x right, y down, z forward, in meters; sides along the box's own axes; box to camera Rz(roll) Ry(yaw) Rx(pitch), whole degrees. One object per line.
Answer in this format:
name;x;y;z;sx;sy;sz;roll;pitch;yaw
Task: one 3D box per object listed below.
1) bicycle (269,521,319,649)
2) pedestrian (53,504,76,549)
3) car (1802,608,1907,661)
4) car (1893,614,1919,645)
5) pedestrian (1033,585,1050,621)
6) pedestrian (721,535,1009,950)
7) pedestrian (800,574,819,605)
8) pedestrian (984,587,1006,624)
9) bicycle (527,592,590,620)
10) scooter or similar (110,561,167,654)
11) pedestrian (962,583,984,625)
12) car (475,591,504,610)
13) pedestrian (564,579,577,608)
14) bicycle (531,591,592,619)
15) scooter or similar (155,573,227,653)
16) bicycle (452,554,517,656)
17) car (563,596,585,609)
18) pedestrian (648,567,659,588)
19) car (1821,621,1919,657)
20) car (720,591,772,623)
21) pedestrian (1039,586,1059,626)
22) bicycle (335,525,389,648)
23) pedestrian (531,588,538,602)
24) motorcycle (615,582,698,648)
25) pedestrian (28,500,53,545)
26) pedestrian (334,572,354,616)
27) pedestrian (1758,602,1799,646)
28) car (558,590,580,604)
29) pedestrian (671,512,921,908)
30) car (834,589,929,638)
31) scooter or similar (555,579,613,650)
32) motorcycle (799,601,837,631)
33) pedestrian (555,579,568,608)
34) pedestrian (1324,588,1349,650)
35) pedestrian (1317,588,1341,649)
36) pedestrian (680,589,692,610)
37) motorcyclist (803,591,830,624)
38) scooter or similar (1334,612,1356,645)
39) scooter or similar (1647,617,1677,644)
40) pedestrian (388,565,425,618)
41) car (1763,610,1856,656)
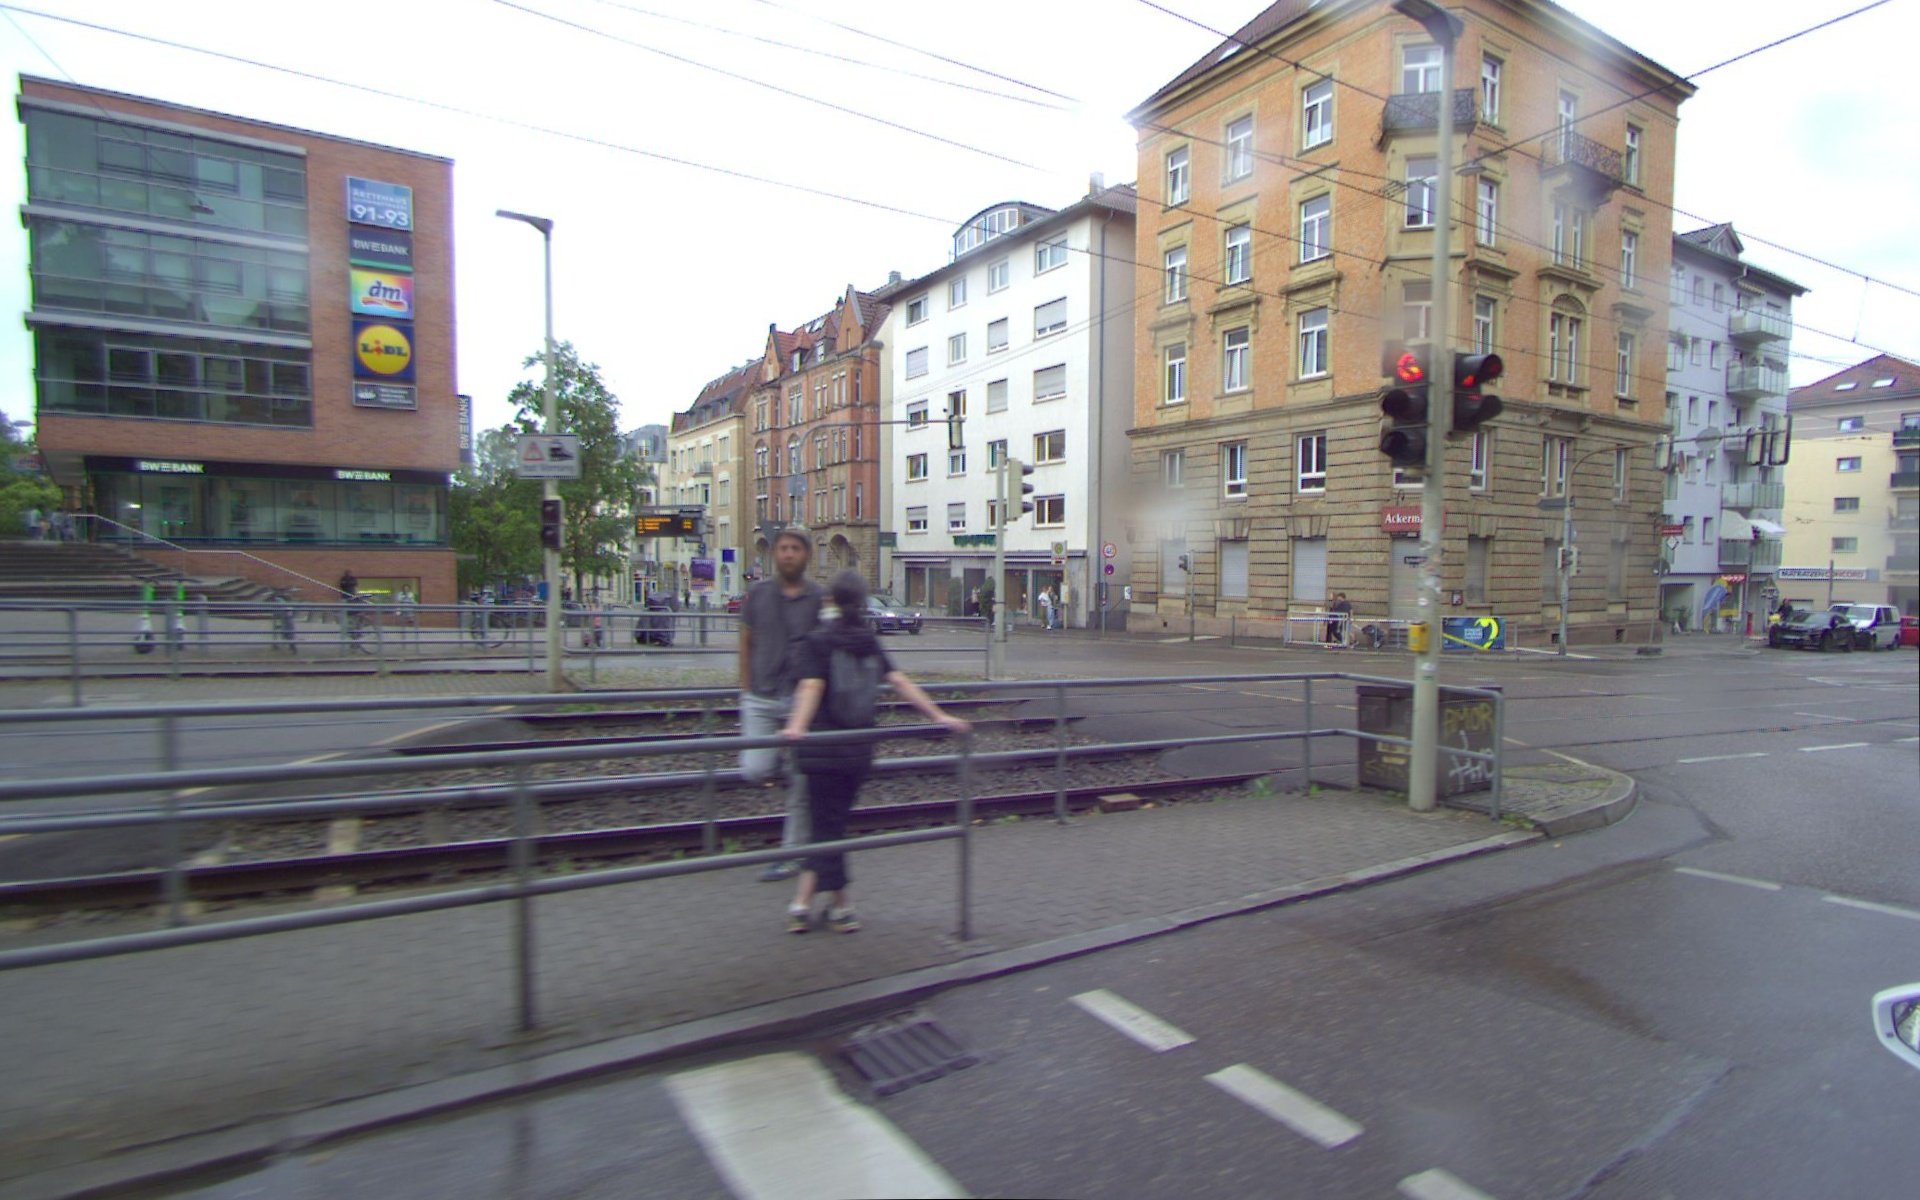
bicycle;-11.193;-0.279;16.863;0.514;2.041;1.875;1;2;-38
pedestrian;-35.876;-2.921;40.232;0.643;1.753;0.612;1;1;-40
car;39.276;1.491;44.074;5.245;2.036;2.057;1;4;-33
car;48.207;1.500;49.860;4.026;1.471;1.645;2;1;-30
pedestrian;3.601;0.130;44.169;0.492;1.557;0.528;1;2;-29
pedestrian;-0.441;0.561;4.561;0.991;1.626;0.829;1;1;-35
pedestrian;-9.205;-0.665;61.436;0.805;1.861;0.762;1;2;-34
pedestrian;1.629;0.234;46.974;0.659;1.692;0.826;1;1;-29
bicycle;-16.949;0.271;42.425;2.348;1.116;0.691;1;2;-41
scooter or similar;-13.014;0.103;15.895;1.484;1.389;0.450;3;2;41
pedestrian;0.652;0.204;50.121;0.758;2.040;0.859;1;1;-28
car;-41.985;0.034;89.612;1.798;1.610;3.964;1;0;-33
pedestrian;-22.893;-0.387;59.056;0.593;1.651;0.568;1;2;-34
bicycle;-17.316;0.229;43.677;2.339;1.116;0.845;1;1;-30
scooter or similar;-12.425;0.191;16.212;1.691;1.210;0.477;2;1;37
bicycle;-8.858;0.065;18.679;0.552;1.720;2.073;3;3;-38
car;-45.368;0.260;117.954;1.619;1.310;3.982;1;1;-33
pedestrian;-28.544;-2.102;93.509;0.805;1.861;0.762;1;2;-34
car;43.023;1.822;46.937;3.903;1.453;1.786;2;1;1
car;-12.552;0.378;58.793;1.619;1.603;3.962;1;3;-33
pedestrian;3.827;0.255;43.288;0.588;1.690;0.599;2;1;-23
bicycle;-10.444;-0.259;17.513;0.514;2.041;1.875;1;2;-38
pedestrian;-57.675;-0.632;136.141;0.805;1.861;0.762;1;1;-34
motorcycle;-6.909;0.314;22.745;0.859;1.389;2.629;2;0;-38
pedestrian;-37.662;-3.157;41.133;0.639;1.753;0.724;3;1;45
pedestrian;-22.868;-0.219;37.282;0.586;1.587;0.515;1;2;-34
pedestrian;37.430;1.078;45.934;1.168;1.955;1.161;1;2;-40
car;-40.271;-0.305;103.374;1.617;1.310;3.968;1;2;-29
pedestrian;-0.864;0.510;5.246;0.991;1.823;0.820;1;1;-35
car;-2.941;0.473;36.980;1.822;1.688;3.963;1;0;-33
scooter or similar;-7.802;0.282;20.822;1.484;1.389;0.450;3;2;41
motorcycle;-5.827;0.653;41.198;0.856;1.174;1.836;1;1;-31
pedestrian;-23.180;-0.392;58.401;0.569;1.651;0.568;1;2;-34
pedestrian;11.460;0.564;30.552;0.616;1.864;0.639;1;0;25
pedestrian;10.973;0.547;29.867;0.616;1.791;0.639;-1;2;25
pedestrian;-23.900;-0.042;87.551;0.805;1.861;0.762;1;1;-34
motorcyclist;-5.906;0.309;41.346;0.832;1.320;0.807;1;1;-31
scooter or similar;11.655;0.854;30.435;0.545;0.957;0.577;2;1;27
scooter or similar;31.962;1.376;45.743;0.314;1.225;1.079;1;-2;-43
pedestrian;-18.544;-0.280;33.661;0.998;1.753;0.891;1;1;-33
car;34.368;1.332;40.610;4.318;1.673;1.722;1;1;-34
